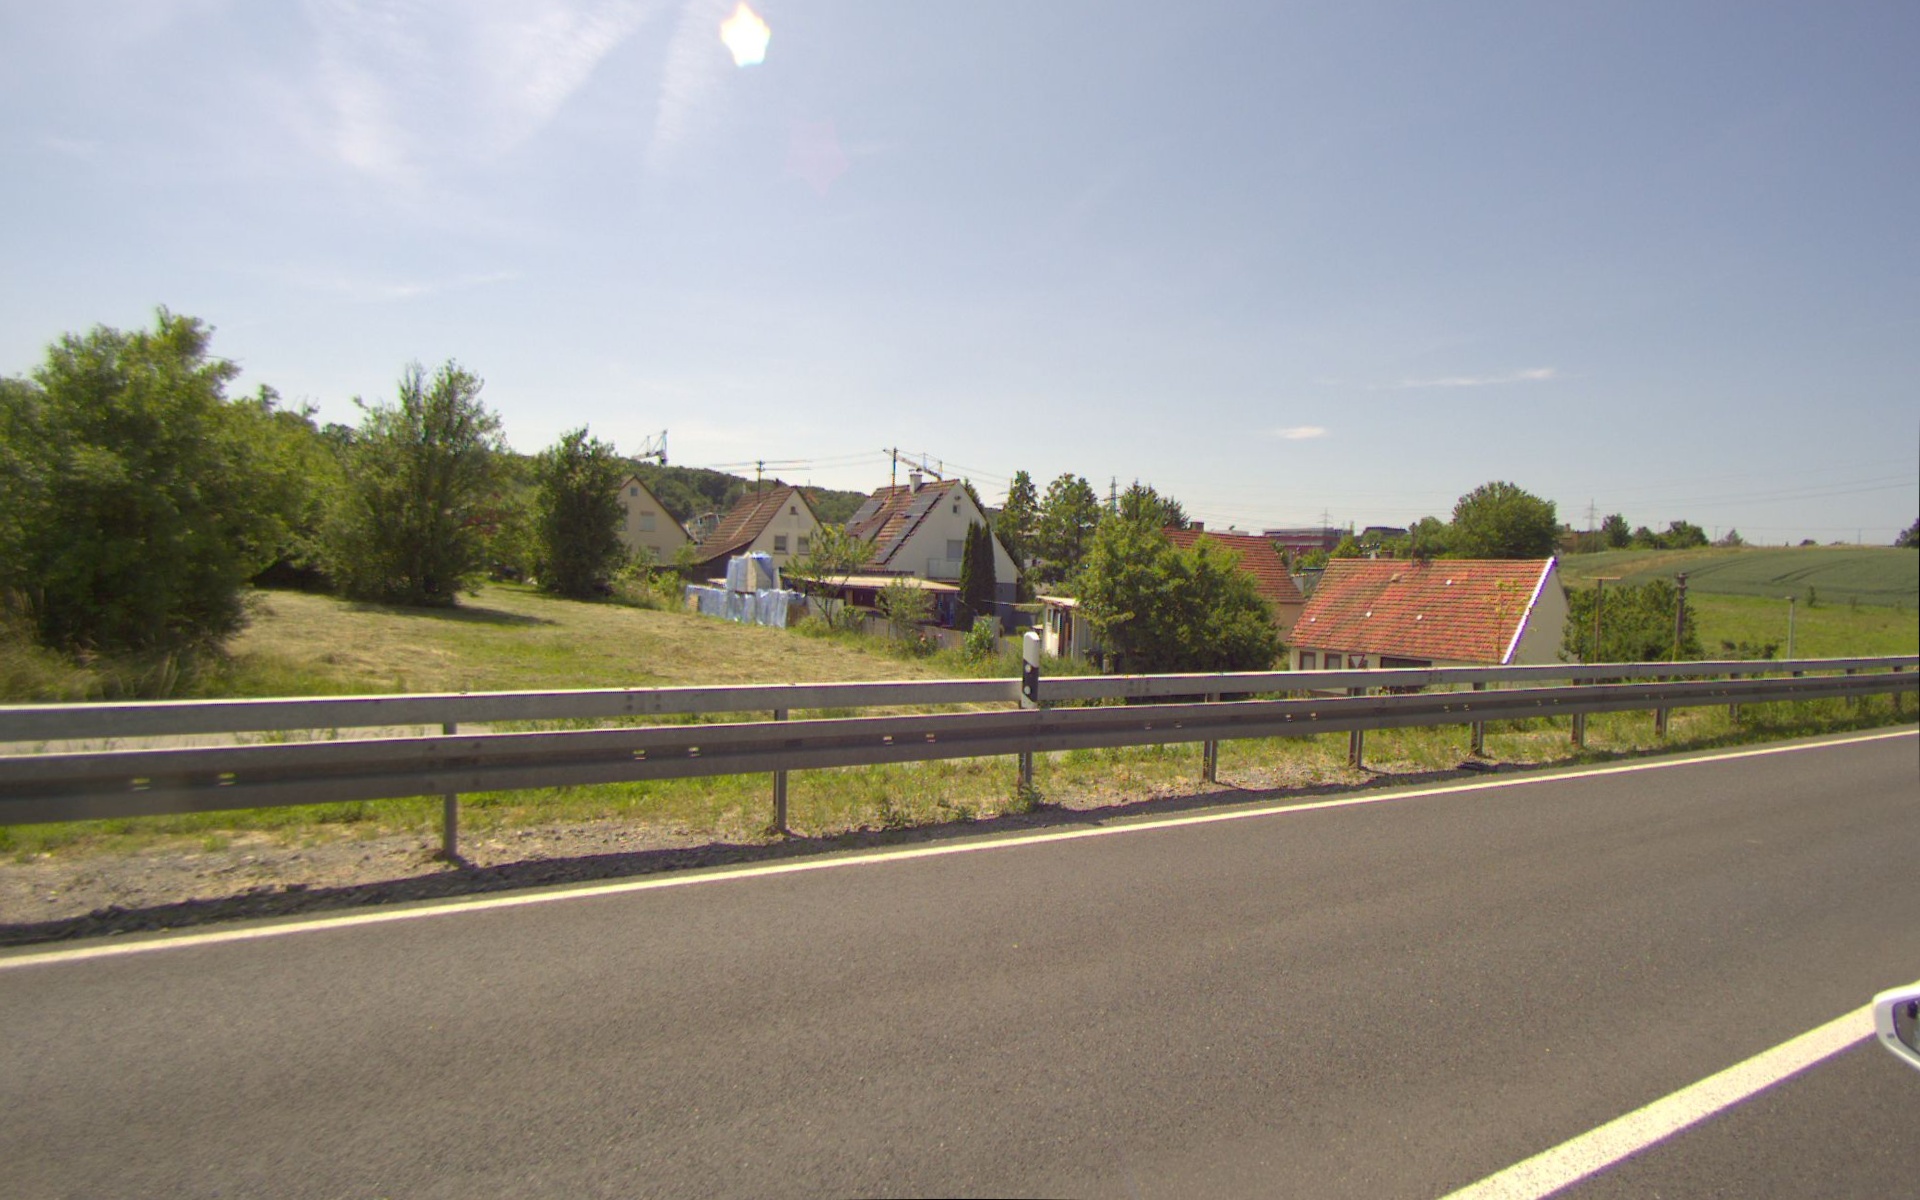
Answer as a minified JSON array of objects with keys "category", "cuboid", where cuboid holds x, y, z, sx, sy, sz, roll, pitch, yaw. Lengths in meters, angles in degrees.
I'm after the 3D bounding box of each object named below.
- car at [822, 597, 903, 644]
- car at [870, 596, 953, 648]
[{"category":"car","cuboid":[-4.087,0.805,41.503,1.763,1.535,3.965,1,4,-31]},{"category":"car","cuboid":[-2.129,0.902,43.002,1.843,1.781,3.965,1,4,-31]}]
